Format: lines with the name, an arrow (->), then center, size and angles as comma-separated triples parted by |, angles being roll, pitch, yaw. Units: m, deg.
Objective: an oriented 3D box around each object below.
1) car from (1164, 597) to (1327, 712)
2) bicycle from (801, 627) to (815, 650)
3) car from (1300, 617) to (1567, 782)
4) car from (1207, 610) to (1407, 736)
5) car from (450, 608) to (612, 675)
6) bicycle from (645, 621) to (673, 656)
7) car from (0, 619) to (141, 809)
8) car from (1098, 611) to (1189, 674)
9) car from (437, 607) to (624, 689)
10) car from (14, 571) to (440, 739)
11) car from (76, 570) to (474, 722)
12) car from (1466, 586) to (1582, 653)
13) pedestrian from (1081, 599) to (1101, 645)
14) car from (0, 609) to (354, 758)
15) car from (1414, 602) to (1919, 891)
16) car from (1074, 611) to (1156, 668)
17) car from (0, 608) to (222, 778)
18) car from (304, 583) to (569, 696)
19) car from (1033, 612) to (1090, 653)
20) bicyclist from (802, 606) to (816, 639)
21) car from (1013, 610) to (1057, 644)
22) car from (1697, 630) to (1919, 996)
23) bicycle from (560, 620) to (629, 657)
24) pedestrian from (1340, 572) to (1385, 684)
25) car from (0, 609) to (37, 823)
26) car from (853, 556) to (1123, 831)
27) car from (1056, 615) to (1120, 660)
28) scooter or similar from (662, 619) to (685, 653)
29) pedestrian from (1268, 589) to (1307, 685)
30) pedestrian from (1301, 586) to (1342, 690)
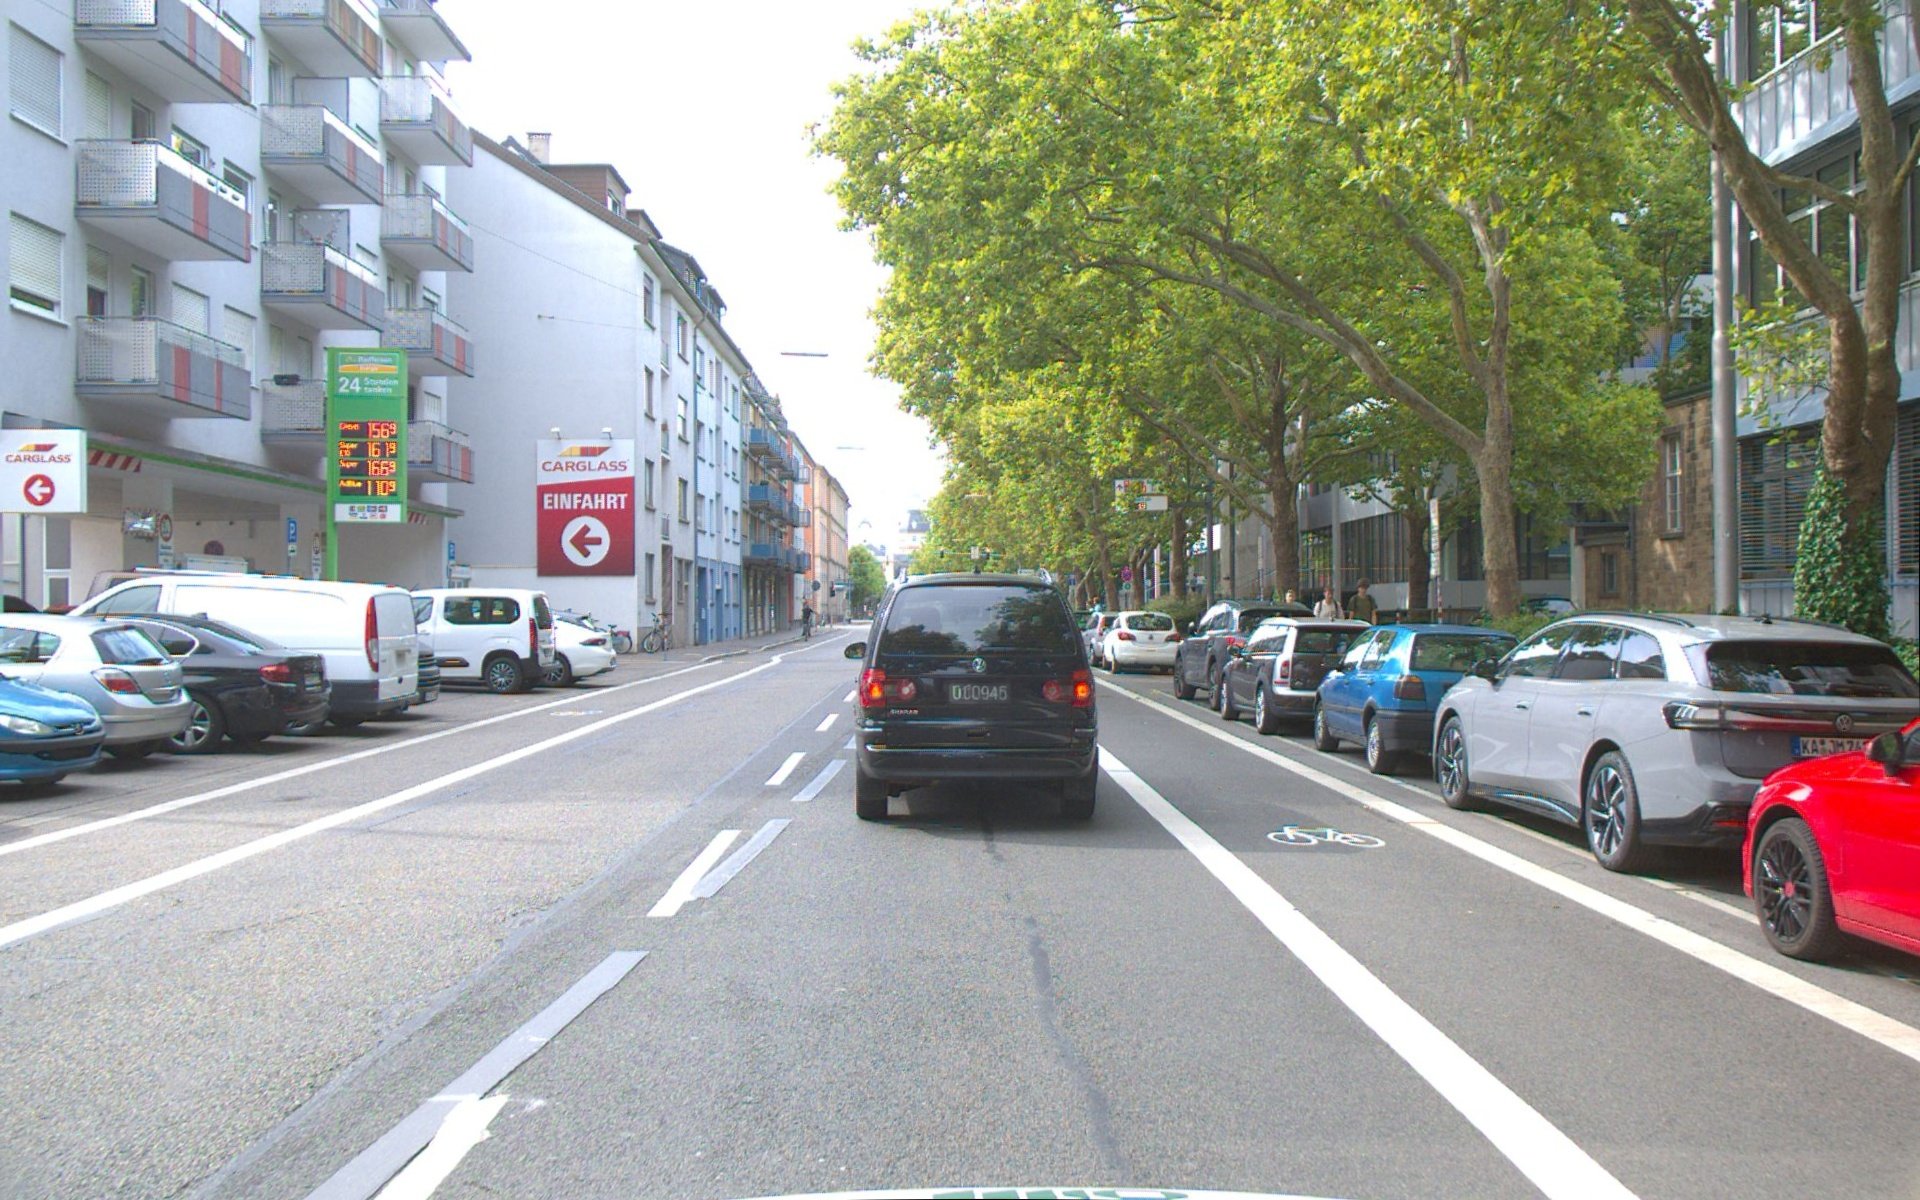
car -> 4.550, 0.827, 26.989 | 1.635, 1.669, 4.501 | 2, 0, -3
bicycle -> -7.482, 1.899, 81.616 | 0.618, 1.052, 2.013 | 1, -3, -3
car -> 4.719, 0.924, 17.039 | 1.588, 1.410, 4.000 | 2, 0, 0
car -> 4.443, 0.883, 21.773 | 1.597, 1.495, 4.315 | 0, -1, -2
car -> -9.670, 0.937, 37.478 | 3.276, 1.427, 1.503 | 1, -1, -3
bicycle -> -9.316, 1.192, 51.219 | 0.618, 1.052, 2.013 | 1, -1, -4
car -> -9.182, 0.882, 13.964 | 3.608, 1.451, 1.753 | 2, 0, -2
car -> 4.413, 0.996, 40.343 | 1.641, 1.418, 4.460 | 1, 0, -1
car -> -8.427, 0.938, 32.673 | 3.276, 1.523, 1.595 | 1, -1, -3
car -> -9.189, 0.667, 21.029 | 4.434, 1.911, 2.046 | 2, 0, 0
car -> -9.716, 0.641, 23.777 | 4.817, 1.936, 1.999 | 2, -1, -2
car -> 13.755, 0.437, 40.534 | 1.442, 1.484, 3.916 | 1, 1, -1
pedestrian -> 5.230, 0.877, 66.147 | 0.751, 1.863, 0.516 | 0, -1, 0
car -> -8.906, 0.897, 18.438 | 3.607, 1.470, 1.753 | 2, 0, -2
car -> 4.695, 0.813, 11.318 | 1.693, 1.543, 4.869 | 1, -1, -2
car -> 4.162, 1.047, 44.800 | 1.609, 1.438, 3.413 | 1, 0, -5
car -> -9.491, 0.856, 16.301 | 3.608, 1.511, 1.752 | 2, 0, -2
car -> -9.503, 0.709, 30.277 | 4.221, 1.902, 1.823 | 2, -1, -3
car -> 3.730, 1.199, 61.300 | 1.609, 1.419, 3.509 | 1, 0, -5
bicyclist -> -7.496, 1.123, 81.907 | 0.640, 1.639, 0.655 | 1, -3, -4
car -> 3.439, 1.236, 76.364 | 1.609, 1.513, 3.509 | 0, 0, -5
car -> 4.643, 0.871, 6.207 | 1.642, 1.418, 4.459 | 1, 0, -2
bicycle -> -10.974, 1.163, 49.720 | 1.967, 1.052, 0.410 | 1, 1, 0
pedestrian -> 7.373, 0.502, 30.323 | 0.629, 2.010, 0.692 | 1, 1, 0
car -> -9.106, 0.820, 11.934 | 3.859, 1.597, 1.753 | 2, 0, 1
car -> 0.069, 0.634, 12.748 | 1.776, 1.797, 3.735 | 0, -1, -4
car -> 4.320, 1.244, 56.102 | 1.609, 1.438, 3.413 | 1, 0, -5
scooter or similar -> -9.393, 1.191, 54.206 | 0.619, 1.052, 2.012 | 1, -3, -7
pedestrian -> 6.027, 0.677, 30.448 | 0.575, 1.731, 0.508 | 1, 1, 0
pedestrian -> 6.670, 0.695, 30.502 | 0.575, 1.870, 0.692 | 1, 1, 0
